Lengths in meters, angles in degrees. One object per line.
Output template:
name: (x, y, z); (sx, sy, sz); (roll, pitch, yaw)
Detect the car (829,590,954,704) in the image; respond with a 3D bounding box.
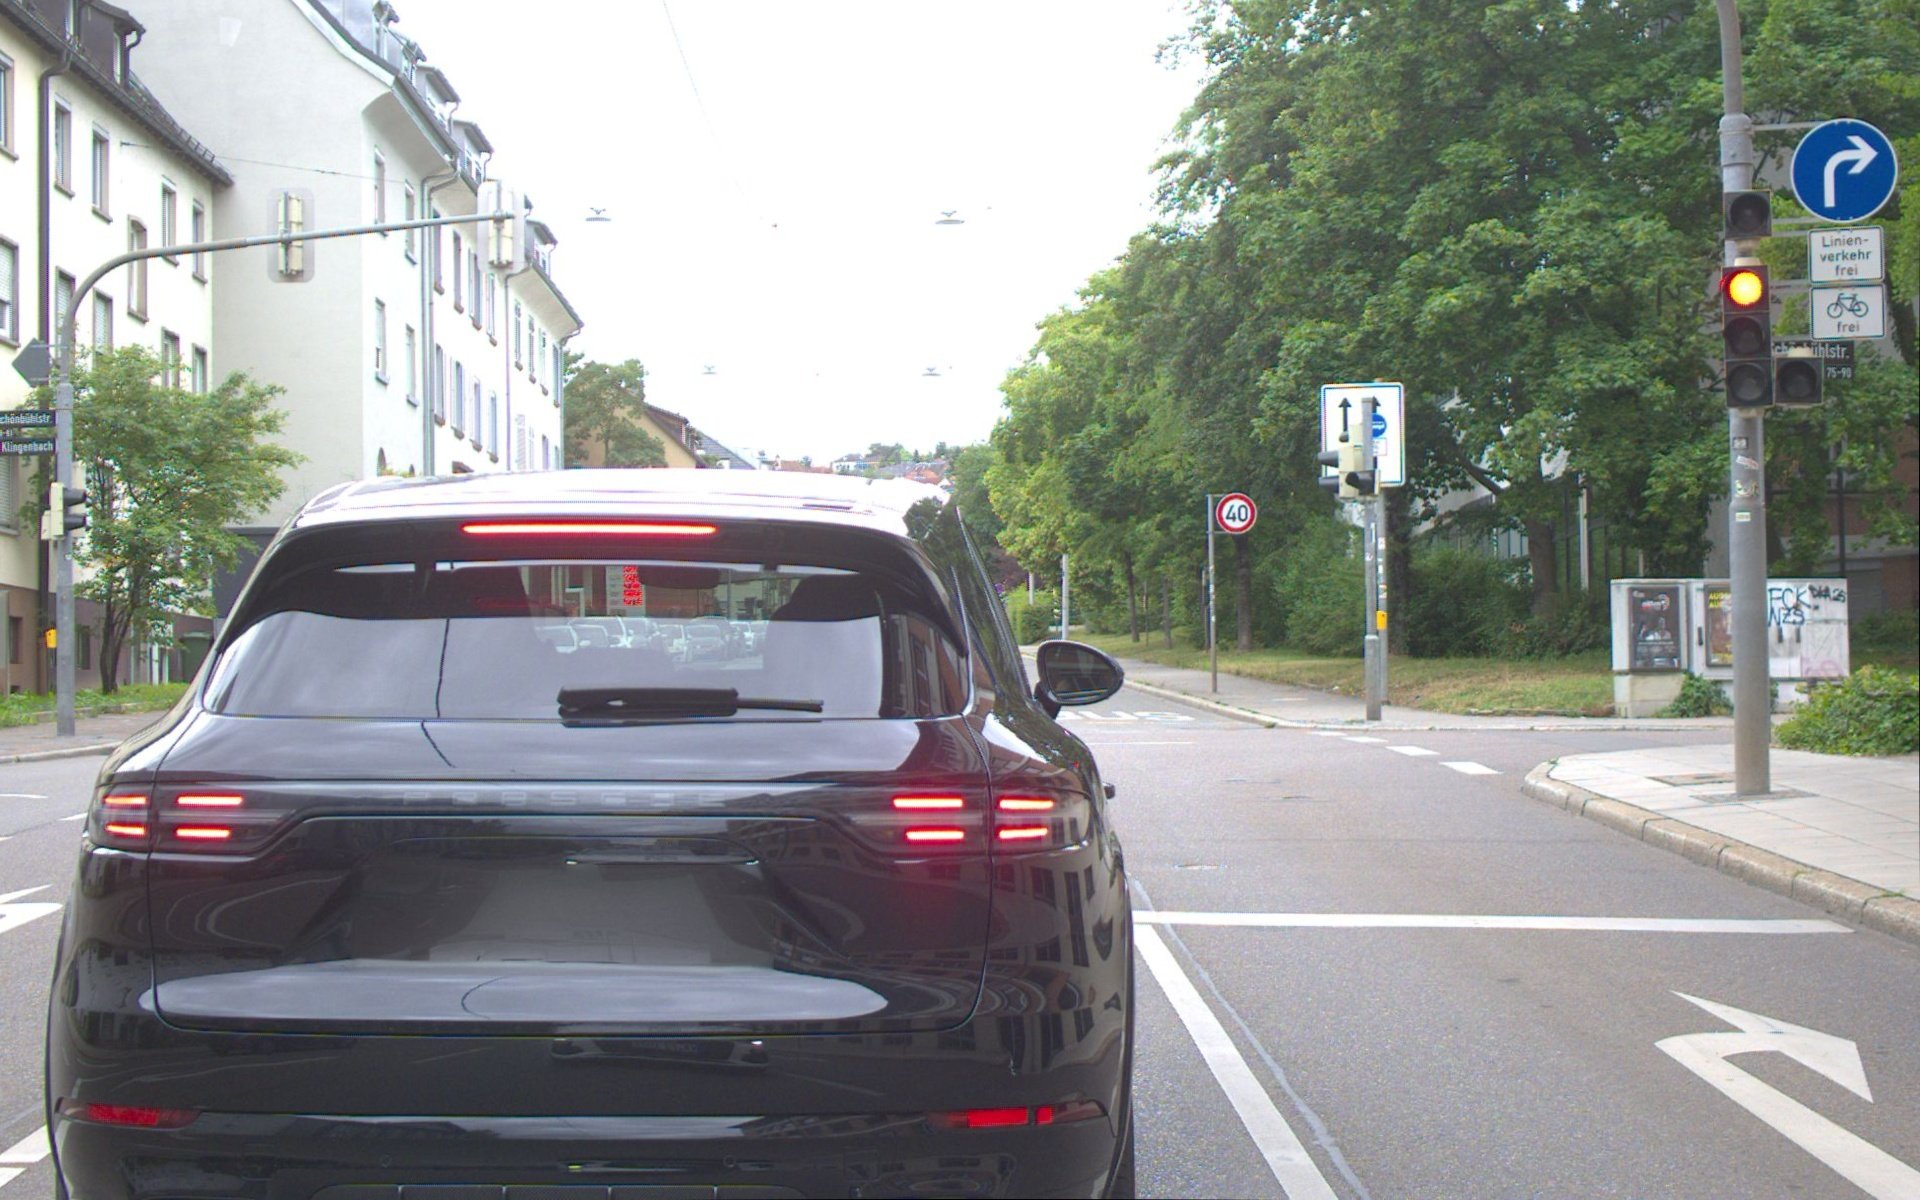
car: (-1.033, 0.687, 52.890); (1.827, 1.599, 3.859); (1, 1, 0)

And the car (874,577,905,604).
car: (-4.327, -0.580, 210.622); (1.827, 1.599, 4.135); (1, 1, 0)

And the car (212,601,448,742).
car: (-7.066, 0.763, 38.979); (1.785, 1.414, 4.670); (-2, 0, 0)

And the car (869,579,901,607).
car: (-4.428, -0.426, 203.296); (1.827, 1.599, 4.135); (1, 1, 0)

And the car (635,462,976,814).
car: (-0.919, 0.189, 22.248); (1.965, 2.035, 4.135); (1, 1, 0)

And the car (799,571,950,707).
car: (-1.061, 0.464, 44.172); (1.827, 1.599, 4.135); (1, 1, 0)

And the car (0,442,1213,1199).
car: (-0.649, 0.558, 7.573); (2.048, 1.660, 4.267); (1, 1, 0)

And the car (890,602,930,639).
car: (-2.324, 0.963, 161.551); (1.827, 1.599, 4.135); (1, 1, 0)

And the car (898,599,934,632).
car: (-2.338, 0.815, 182.836); (1.827, 1.599, 4.135); (1, 1, 0)
